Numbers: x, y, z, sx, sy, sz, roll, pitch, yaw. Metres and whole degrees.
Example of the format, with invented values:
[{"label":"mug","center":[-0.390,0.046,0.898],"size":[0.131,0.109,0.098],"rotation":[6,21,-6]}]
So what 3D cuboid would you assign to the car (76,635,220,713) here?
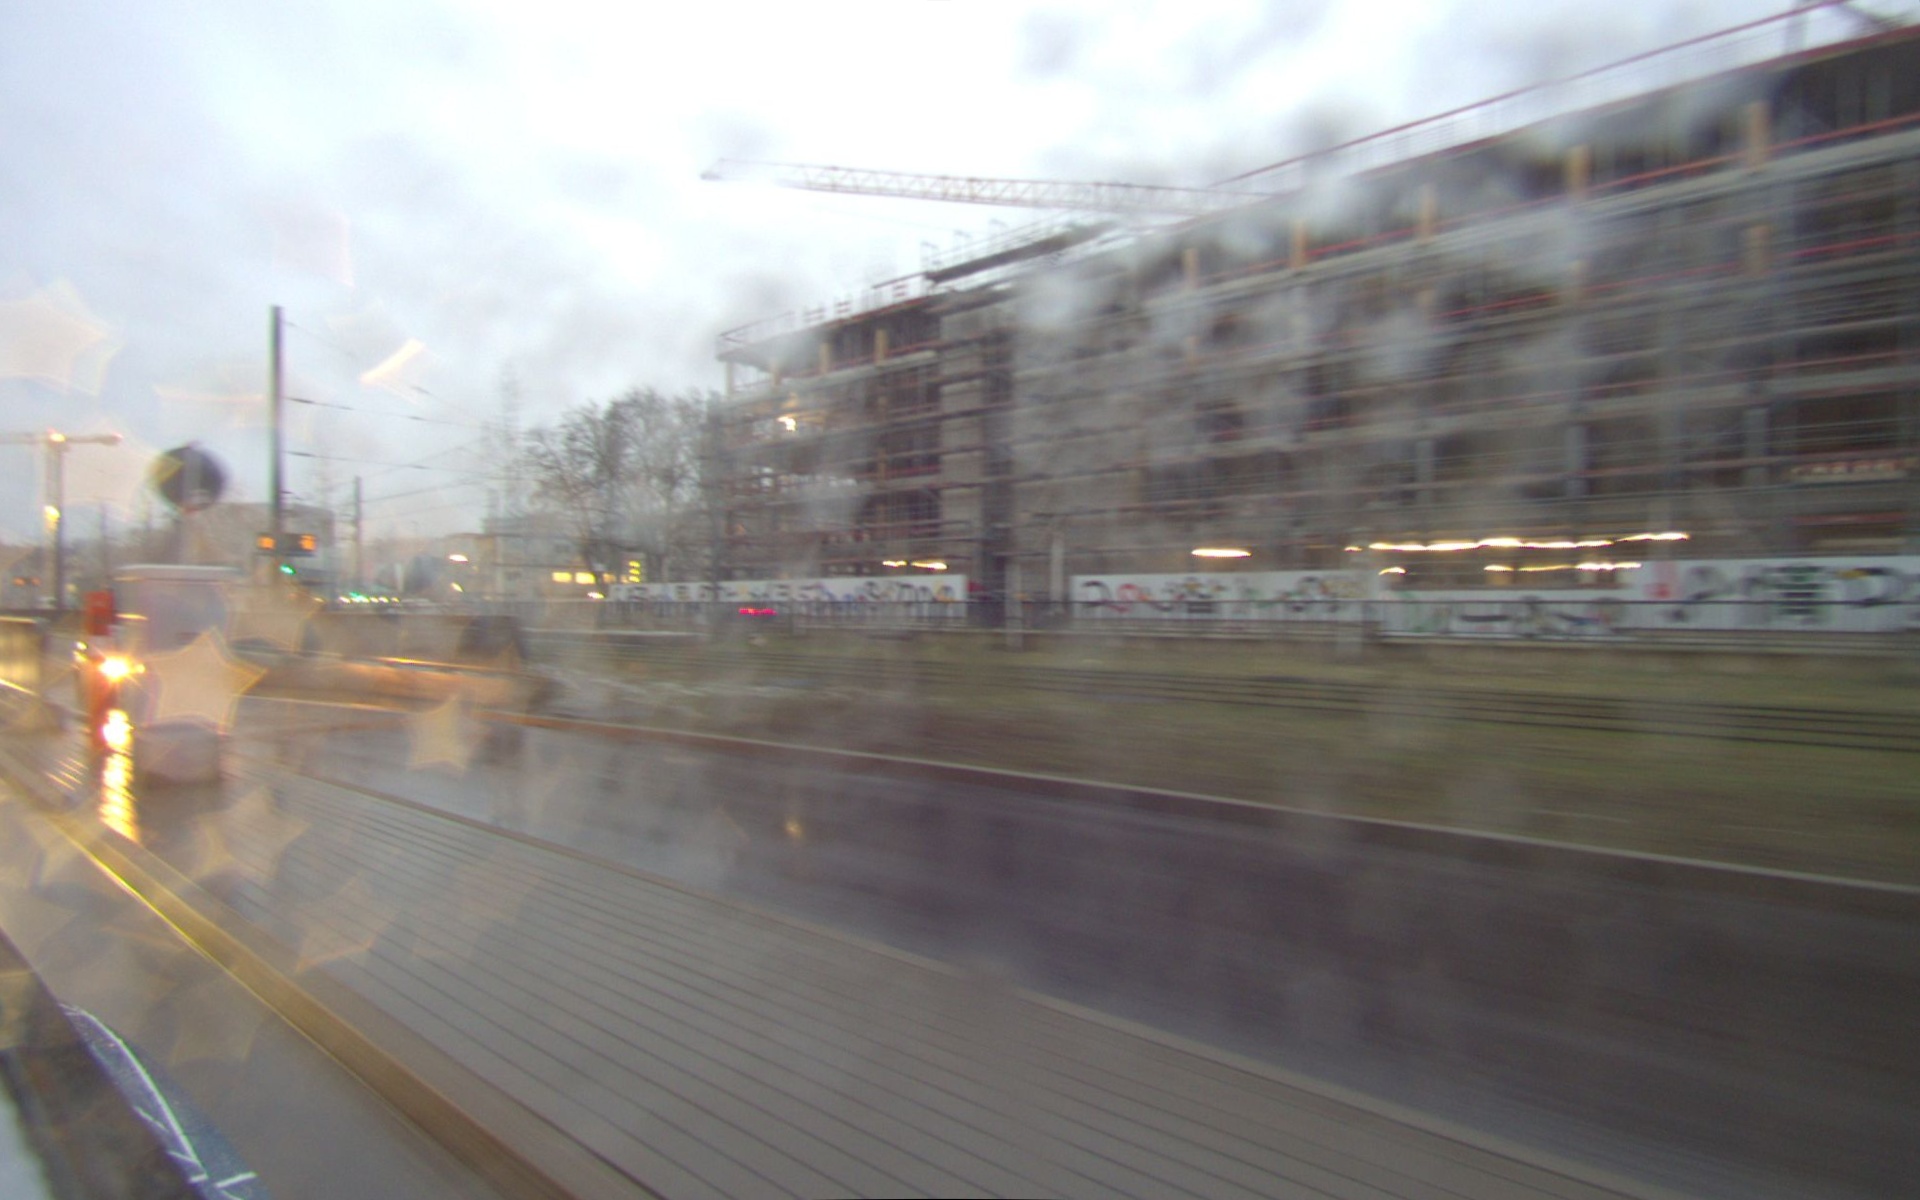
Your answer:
[{"label":"car","center":[-17.410,1.504,21.638],"size":[4.003,1.464,1.785],"rotation":[-1,-1,42]}]

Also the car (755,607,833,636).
[{"label":"car","center":[-8.759,1.120,53.214],"size":[4.338,1.425,1.665],"rotation":[-2,0,42]}]

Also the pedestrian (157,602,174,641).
[{"label":"pedestrian","center":[-35.509,0.972,45.218],"size":[0.576,1.714,0.742],"rotation":[-1,0,-38]}]
